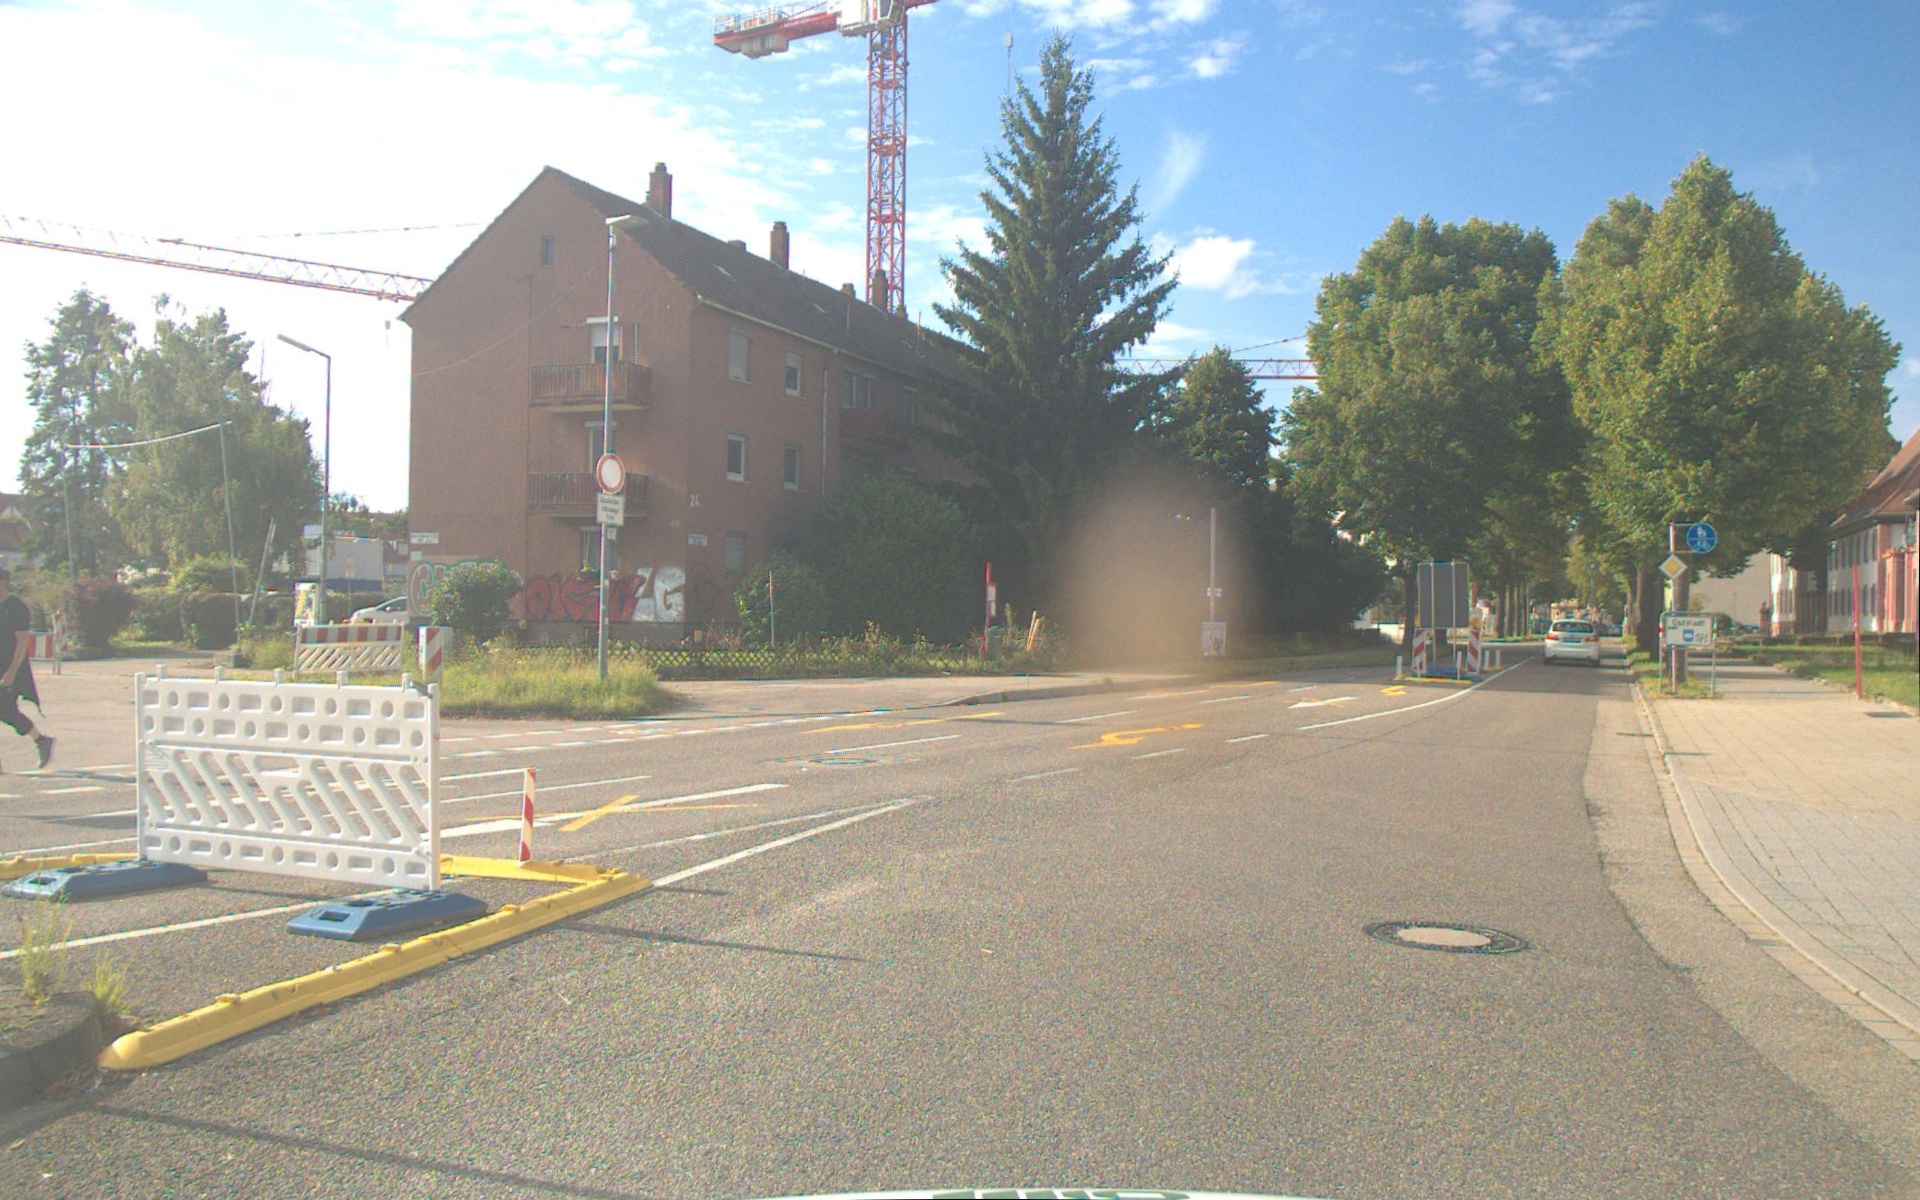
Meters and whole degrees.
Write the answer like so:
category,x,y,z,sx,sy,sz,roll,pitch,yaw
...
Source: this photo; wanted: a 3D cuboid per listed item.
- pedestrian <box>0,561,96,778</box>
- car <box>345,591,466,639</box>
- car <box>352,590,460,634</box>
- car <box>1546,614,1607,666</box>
category,x,y,z,sx,sy,sz,roll,pitch,yaw
pedestrian,-8.423,0.610,14.995,0.653,1.903,0.836,1,-1,5
car,-19.936,0.542,59.653,3.917,1.646,1.768,1,-1,-12
car,-21.809,0.482,65.100,3.933,1.646,1.761,1,-1,-23
car,20.931,1.347,56.247,1.812,1.600,4.455,2,-1,20
